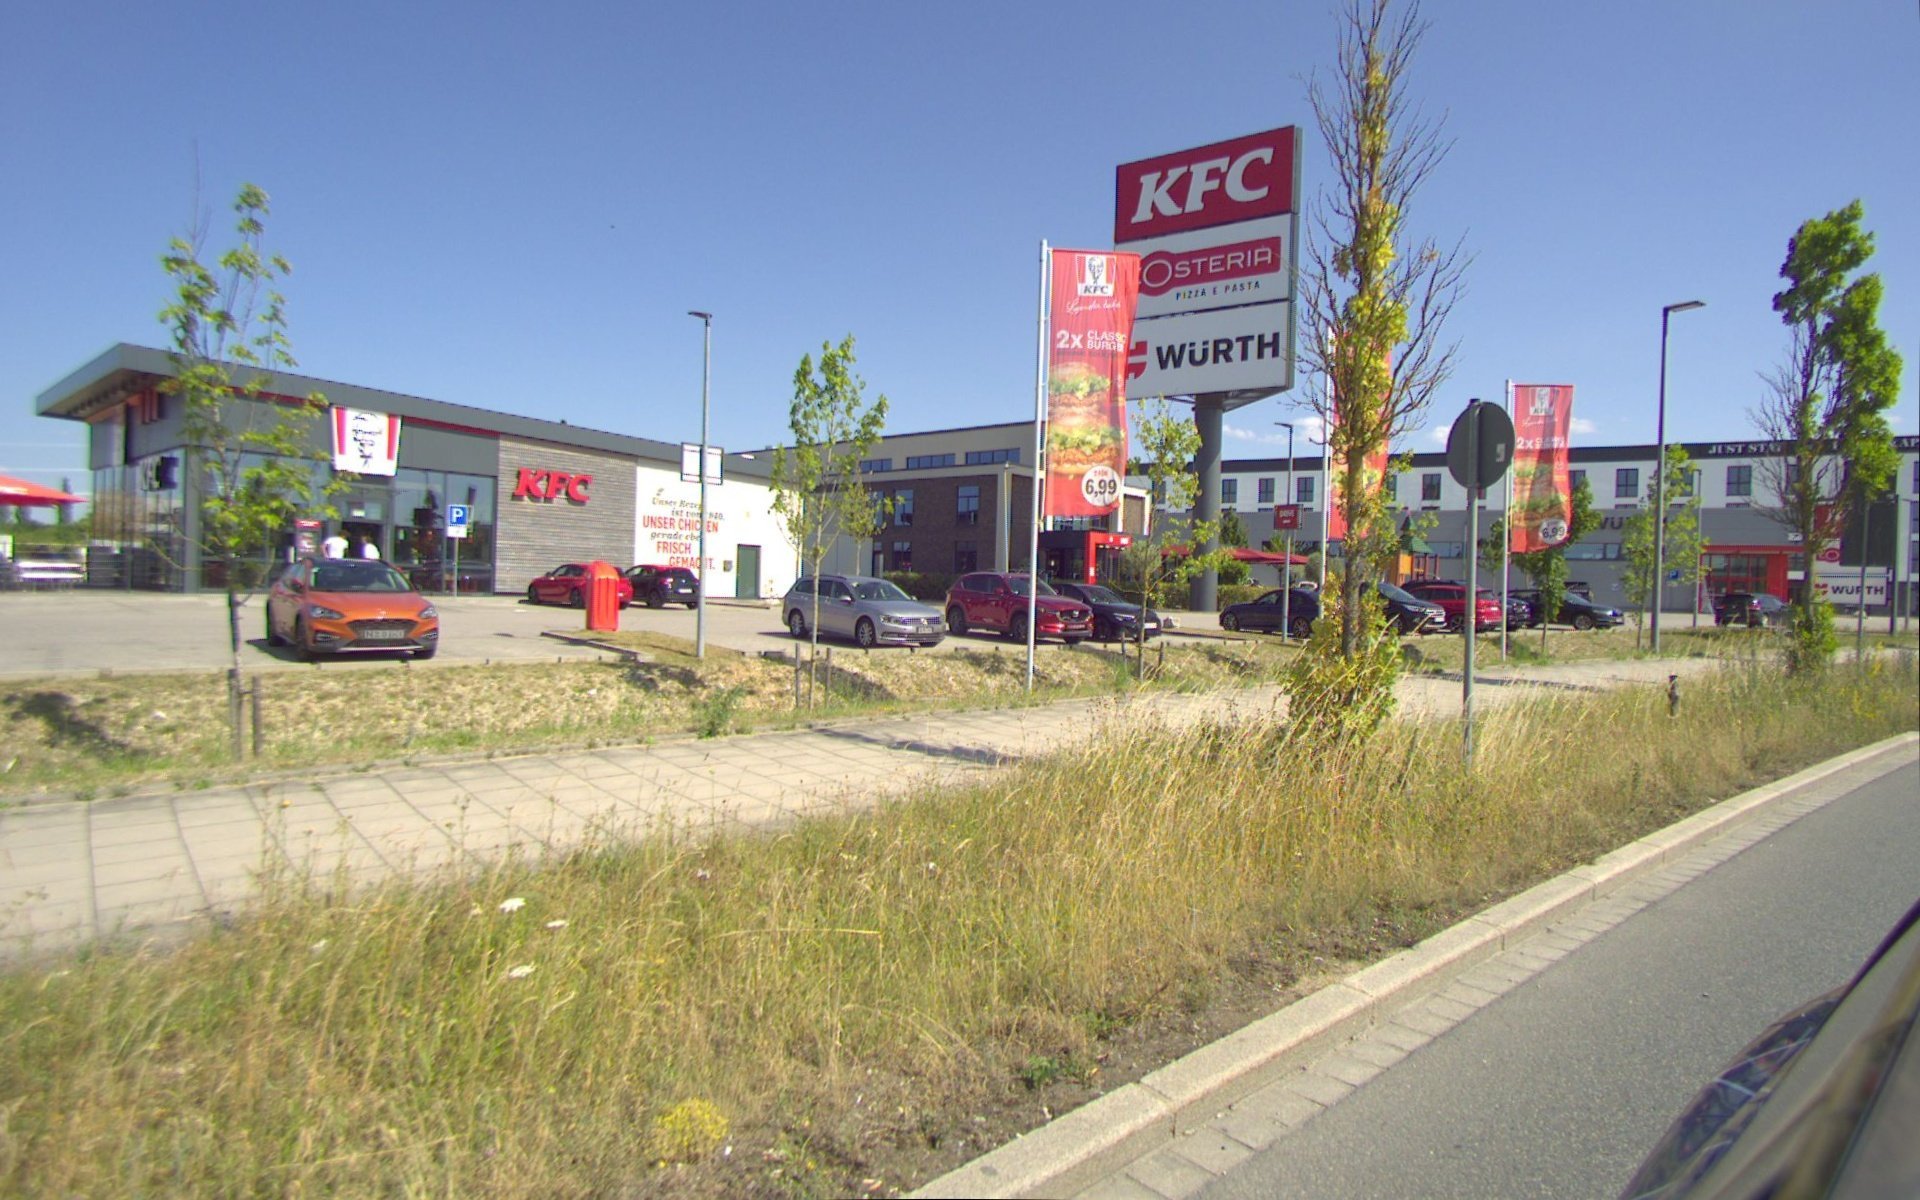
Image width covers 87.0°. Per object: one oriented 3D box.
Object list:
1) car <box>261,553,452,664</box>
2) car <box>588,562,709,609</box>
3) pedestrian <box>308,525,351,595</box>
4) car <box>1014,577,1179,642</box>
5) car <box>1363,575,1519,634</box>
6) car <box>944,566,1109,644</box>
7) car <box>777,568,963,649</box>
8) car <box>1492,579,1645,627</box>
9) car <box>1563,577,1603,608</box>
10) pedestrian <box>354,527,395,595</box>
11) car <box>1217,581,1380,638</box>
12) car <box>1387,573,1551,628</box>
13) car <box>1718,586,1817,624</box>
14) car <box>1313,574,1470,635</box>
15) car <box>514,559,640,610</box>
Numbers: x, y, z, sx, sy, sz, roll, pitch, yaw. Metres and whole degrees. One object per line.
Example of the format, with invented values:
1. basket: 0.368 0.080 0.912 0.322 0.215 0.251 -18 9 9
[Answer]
1. car: -9.735 0.057 16.168 1.837 1.509 4.211 1 2 -42
2. car: -10.768 -0.525 34.823 4.551 1.449 1.841 3 2 41
3. pedestrian: -18.547 -1.164 29.753 0.913 2.039 0.877 2 1 44
4. car: 3.493 0.203 26.534 1.760 1.467 4.162 1 2 -41
5. car: 16.239 0.108 34.360 1.758 1.756 4.419 1 2 -38
6. car: 1.543 0.071 24.975 1.833 1.686 4.169 1 2 -35
7. car: -2.090 0.116 22.187 1.835 1.508 4.568 1 2 -38
8. car: 22.520 0.081 37.602 1.956 1.586 4.424 1 2 -33
9. car: 39.788 -0.495 64.654 2.033 1.838 4.869 2 1 32
10. pedestrian: -17.793 -1.168 30.749 0.913 2.039 0.877 2 1 44
11. car: 9.905 0.236 29.949 1.756 1.467 4.424 1 2 -32
12. car: 18.387 -0.026 36.792 1.902 1.756 5.002 1 2 -33
13. car: 34.368 0.208 43.073 4.084 1.559 1.789 0 1 -28
14. car: 13.821 0.105 32.698 1.755 1.756 4.425 1 2 -31
15. car: -12.443 -0.522 32.732 4.551 1.449 1.841 3 2 41
